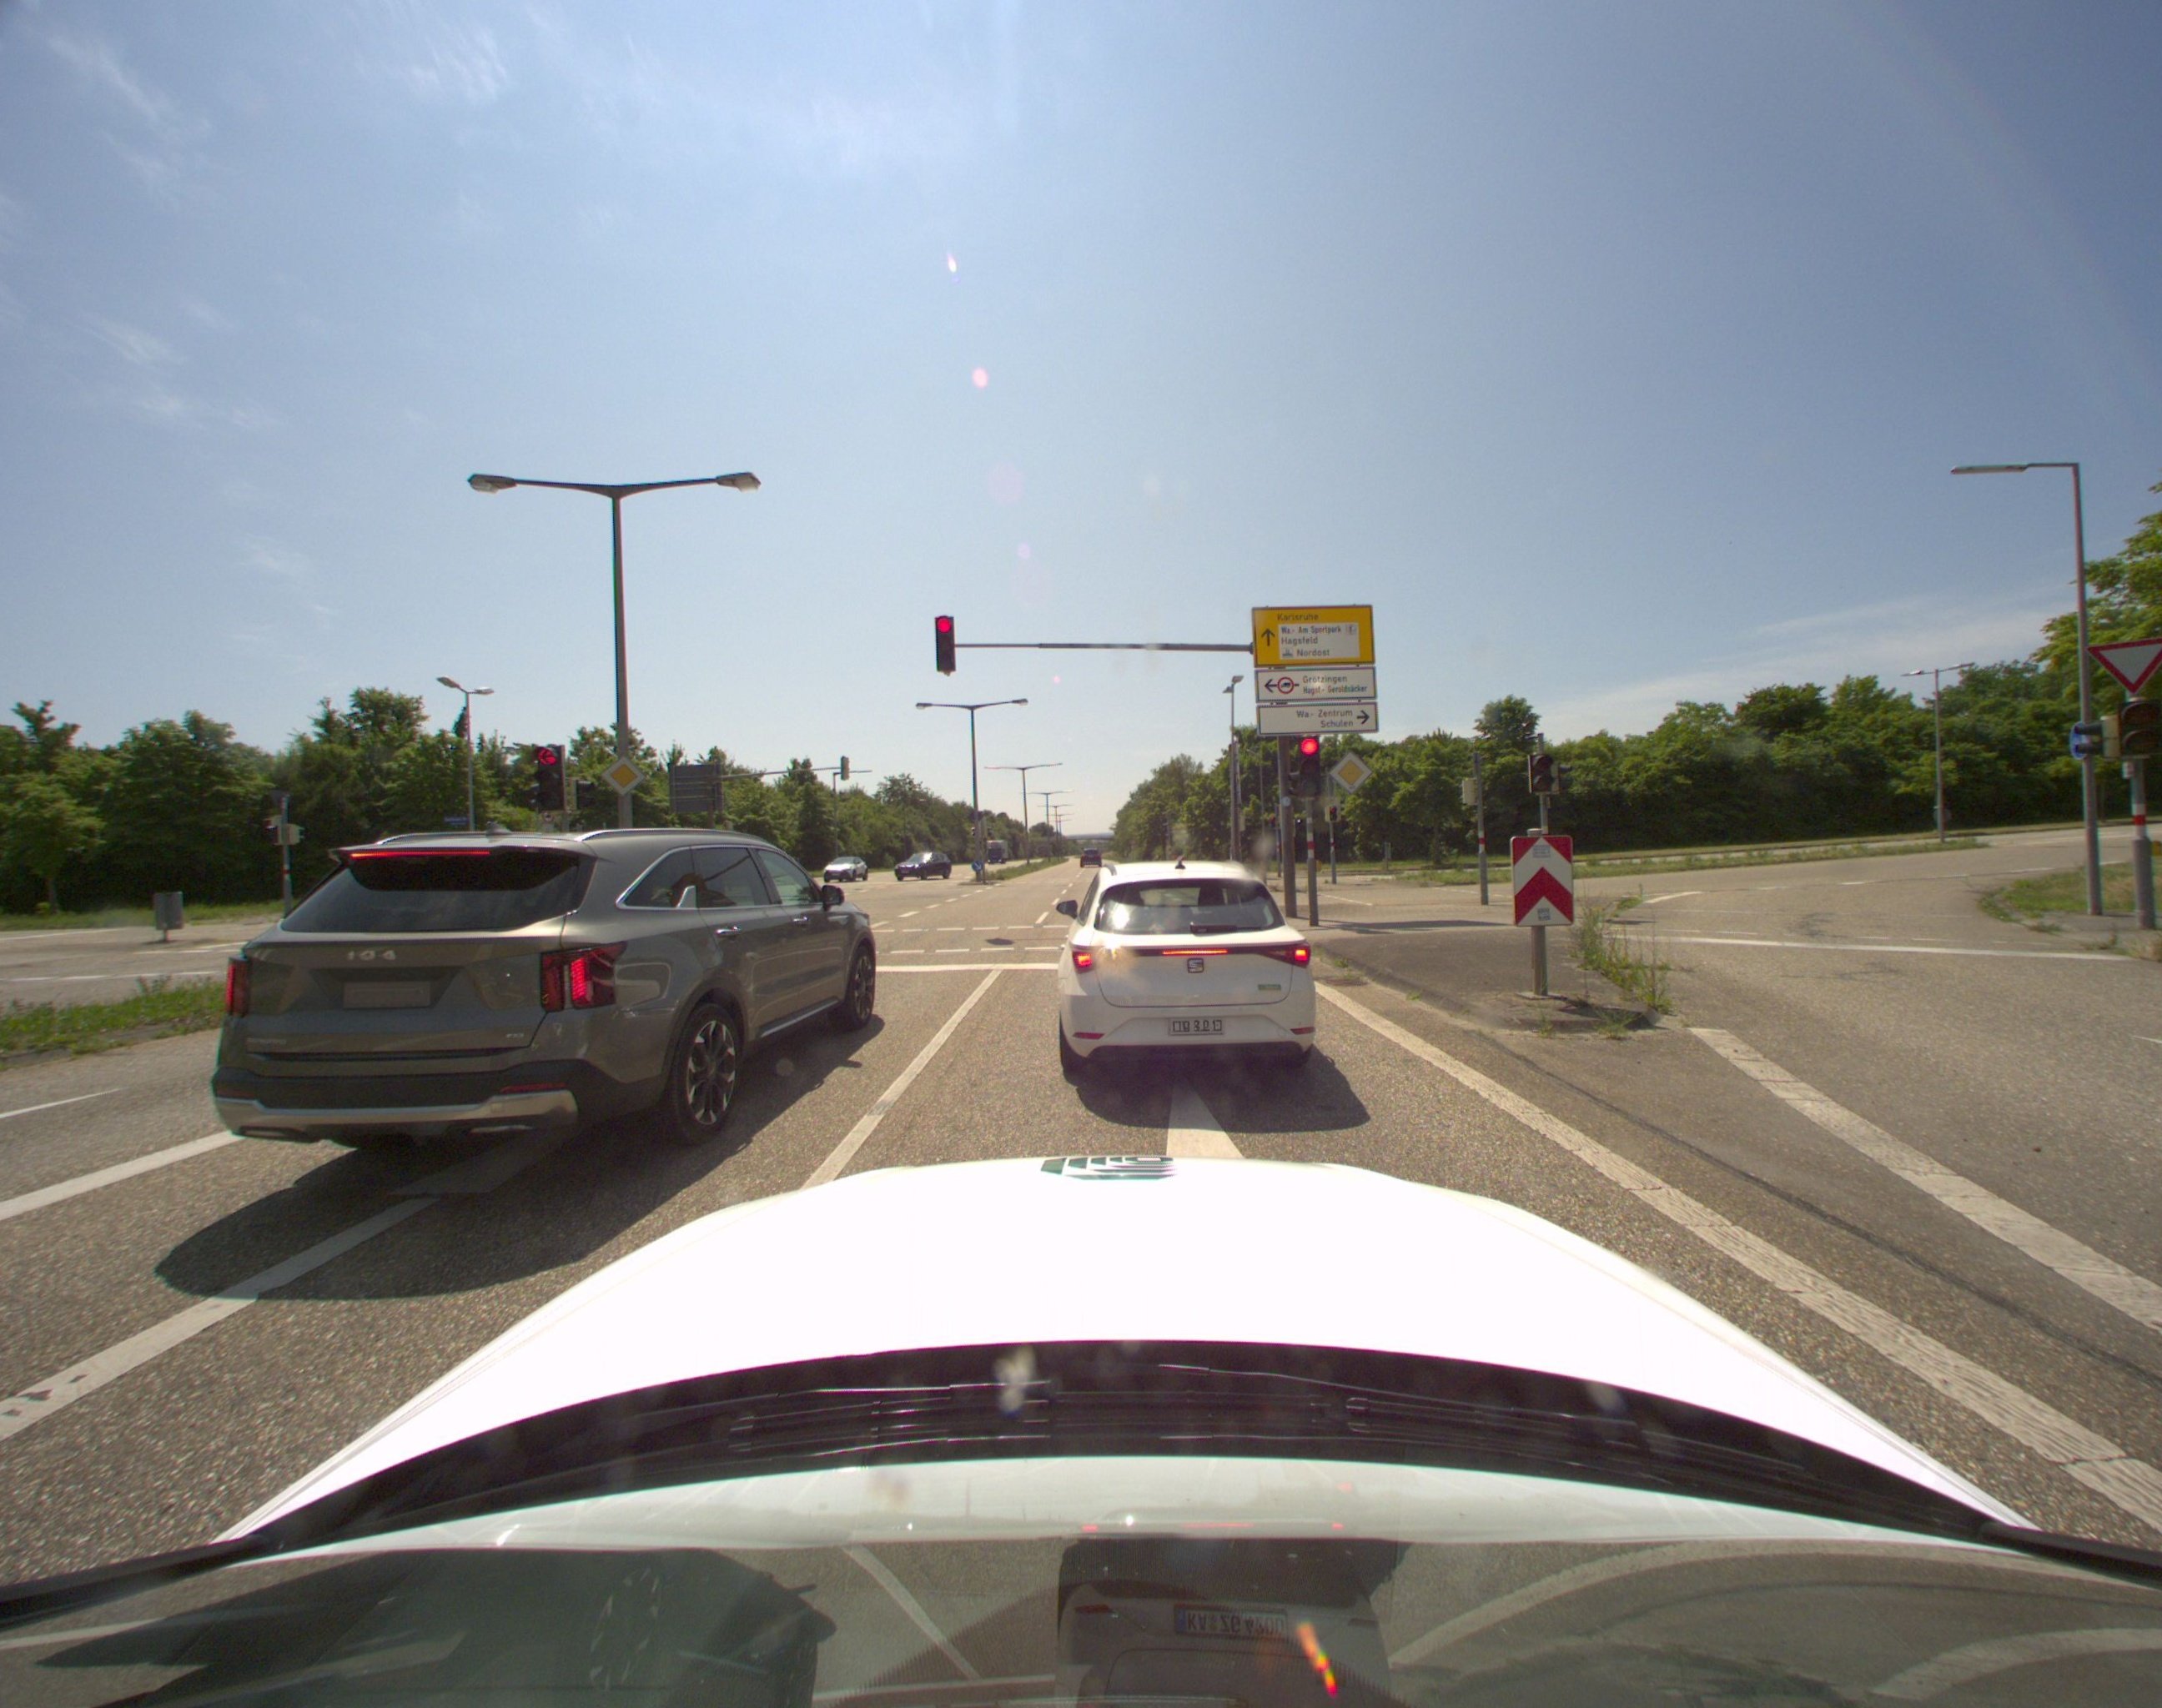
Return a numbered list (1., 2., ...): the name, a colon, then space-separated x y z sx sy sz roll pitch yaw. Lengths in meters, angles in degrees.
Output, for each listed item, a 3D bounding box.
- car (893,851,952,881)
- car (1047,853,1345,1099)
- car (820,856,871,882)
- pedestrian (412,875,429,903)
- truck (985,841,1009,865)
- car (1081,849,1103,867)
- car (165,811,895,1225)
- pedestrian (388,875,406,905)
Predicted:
1. car: -9.794 0.719 50.624 1.693 1.663 4.242 -2 0 17
2. car: 0.729 0.727 6.606 1.728 1.428 3.696 0 -1 2
3. car: -14.679 0.922 50.920 1.815 1.455 4.170 -2 0 2
4. pedestrian: -36.653 1.948 45.195 0.620 1.503 0.790 -2 0 -34
5. truck: -12.733 -0.196 124.384 2.677 3.570 7.269 -2 0 1
6. car: 1.106 0.361 79.240 1.847 1.709 4.004 -2 0 4
7. car: -2.831 0.683 5.708 1.797 1.662 4.646 -2 0 2
8. pedestrian: -37.502 1.983 44.669 0.620 1.603 0.790 -2 0 -34
